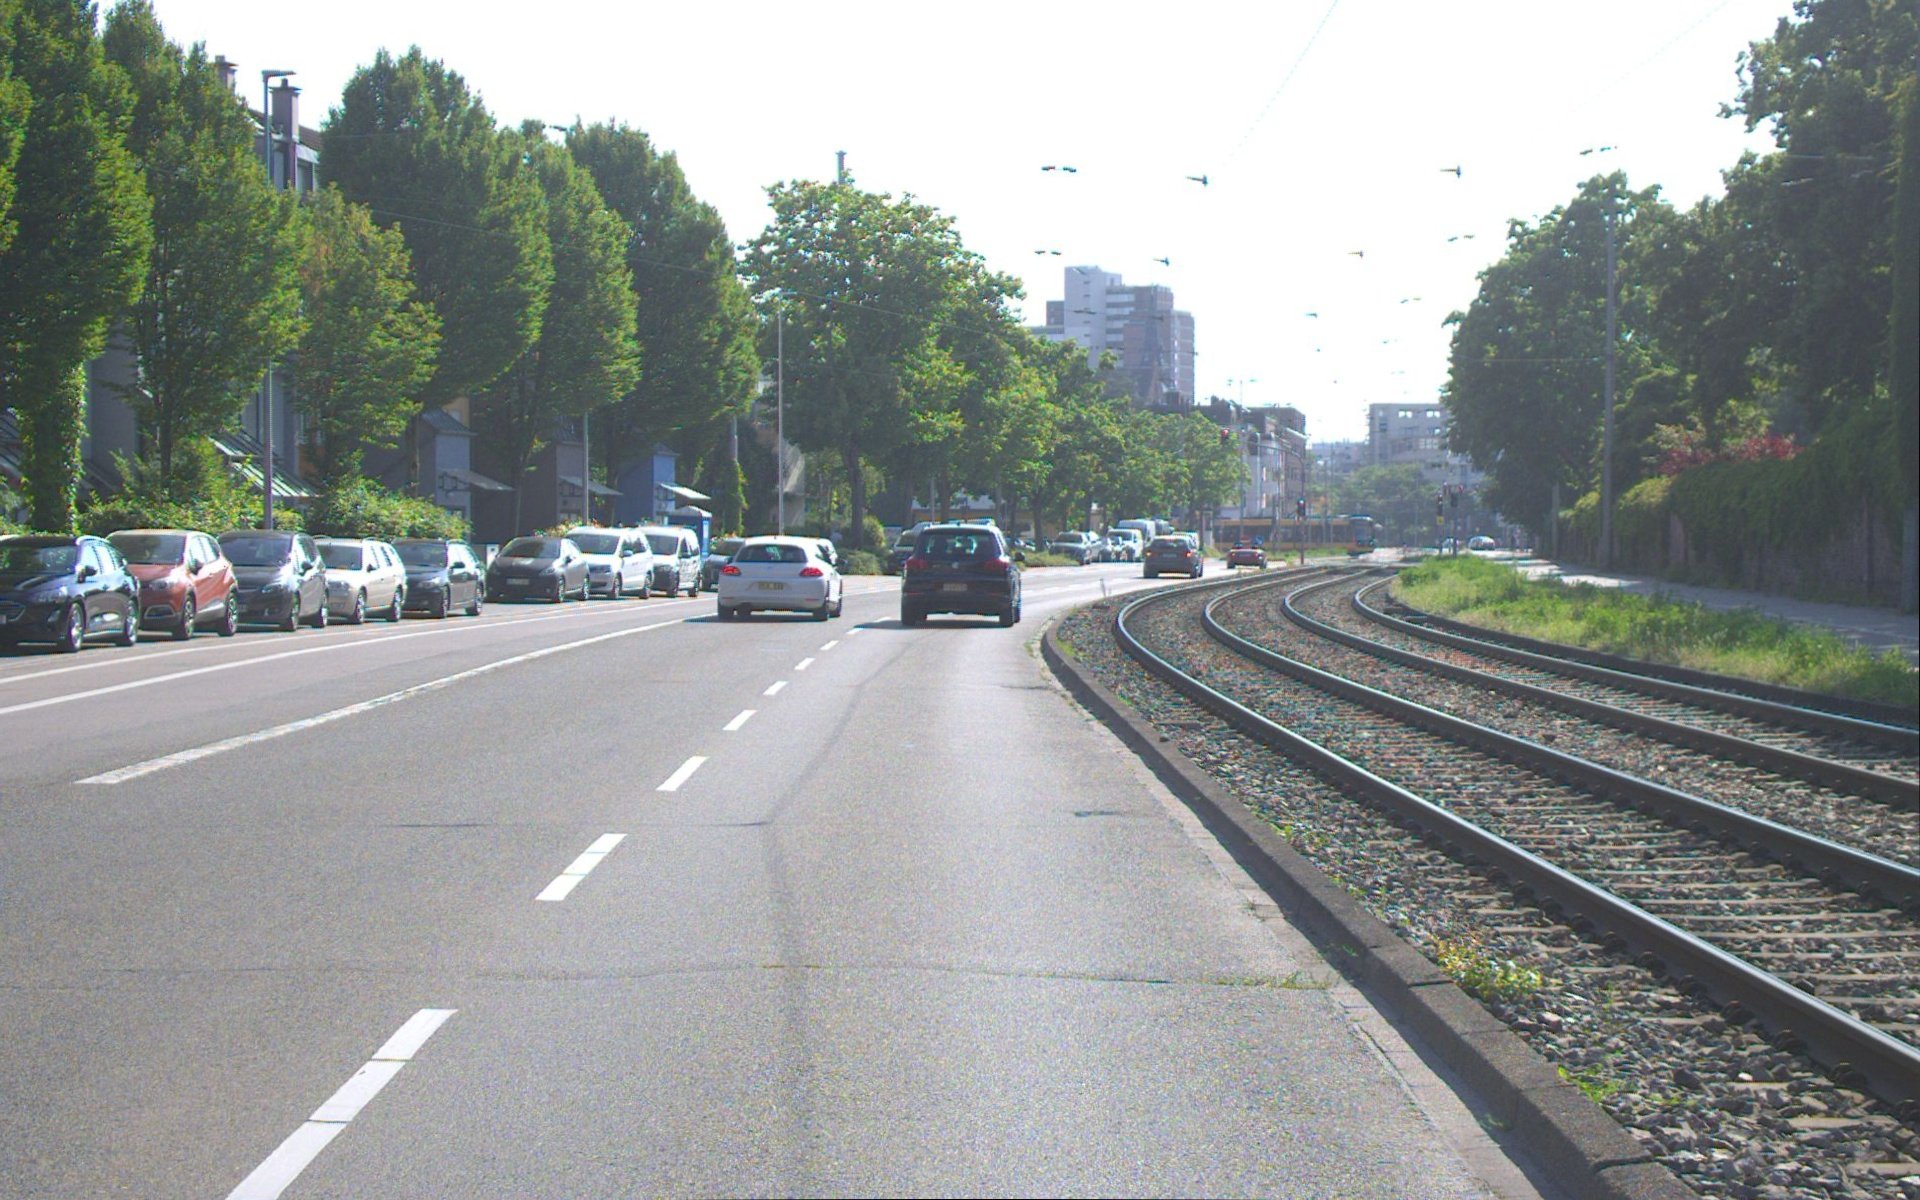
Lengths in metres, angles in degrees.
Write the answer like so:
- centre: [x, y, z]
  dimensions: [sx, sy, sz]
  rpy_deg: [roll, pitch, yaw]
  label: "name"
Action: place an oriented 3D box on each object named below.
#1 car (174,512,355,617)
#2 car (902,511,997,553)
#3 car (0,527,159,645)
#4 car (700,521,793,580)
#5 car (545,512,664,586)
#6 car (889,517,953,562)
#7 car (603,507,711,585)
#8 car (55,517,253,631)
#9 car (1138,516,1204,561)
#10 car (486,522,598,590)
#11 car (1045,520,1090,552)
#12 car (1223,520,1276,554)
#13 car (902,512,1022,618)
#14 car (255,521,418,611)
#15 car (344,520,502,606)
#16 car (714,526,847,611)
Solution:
- centre: [-11.241, -0.586, 55.824]
  dimensions: [1.763, 1.568, 4.298]
  rpy_deg: [2, 1, 4]
  label: "car"
- centre: [-0.610, -4.036, 203.522]
  dimensions: [5.377, 2.415, 2.087]
  rpy_deg: [0, 1, 9]
  label: "car"
- centre: [-11.779, -0.219, 44.415]
  dimensions: [1.652, 1.419, 4.713]
  rpy_deg: [0, 1, 2]
  label: "car"
- centre: [-6.161, -1.451, 99.593]
  dimensions: [1.763, 1.533, 3.980]
  rpy_deg: [5, 2, 9]
  label: "car"
- centre: [-8.601, -1.256, 83.578]
  dimensions: [1.669, 1.695, 4.822]
  rpy_deg: [2, 1, 9]
  label: "car"
- centre: [-1.458, -2.309, 131.045]
  dimensions: [1.712, 1.688, 4.421]
  rpy_deg: [0, 1, 9]
  label: "car"
- centre: [-7.879, -1.433, 89.761]
  dimensions: [1.763, 1.839, 4.579]
  rpy_deg: [5, 2, 7]
  label: "car"
- centre: [-11.634, -0.384, 49.864]
  dimensions: [1.762, 1.568, 4.162]
  rpy_deg: [0, 1, 2]
  label: "car"
- centre: [7.205, -2.104, 117.143]
  dimensions: [1.812, 1.444, 3.999]
  rpy_deg: [2, 2, 9]
  label: "car"
- centre: [-9.485, -1.030, 78.267]
  dimensions: [1.616, 1.460, 4.057]
  rpy_deg: [2, 1, 6]
  label: "car"
- centre: [5.609, -3.360, 179.148]
  dimensions: [1.732, 1.652, 3.998]
  rpy_deg: [0, 1, 10]
  label: "car"
- centre: [12.868, -2.798, 152.805]
  dimensions: [1.812, 1.444, 3.998]
  rpy_deg: [2, 2, 12]
  label: "car"
- centre: [0.066, -0.583, 56.180]
  dimensions: [1.811, 1.639, 4.000]
  rpy_deg: [1, 1, 2]
  label: "car"
- centre: [-11.023, -0.600, 61.102]
  dimensions: [1.712, 1.466, 4.844]
  rpy_deg: [2, 1, 3]
  label: "car"
- centre: [-10.406, -0.751, 66.953]
  dimensions: [1.866, 1.539, 4.909]
  rpy_deg: [2, 1, 5]
  label: "car"
- centre: [-2.963, -0.556, 57.486]
  dimensions: [1.865, 1.343, 4.000]
  rpy_deg: [1, 1, 2]
  label: "car"
